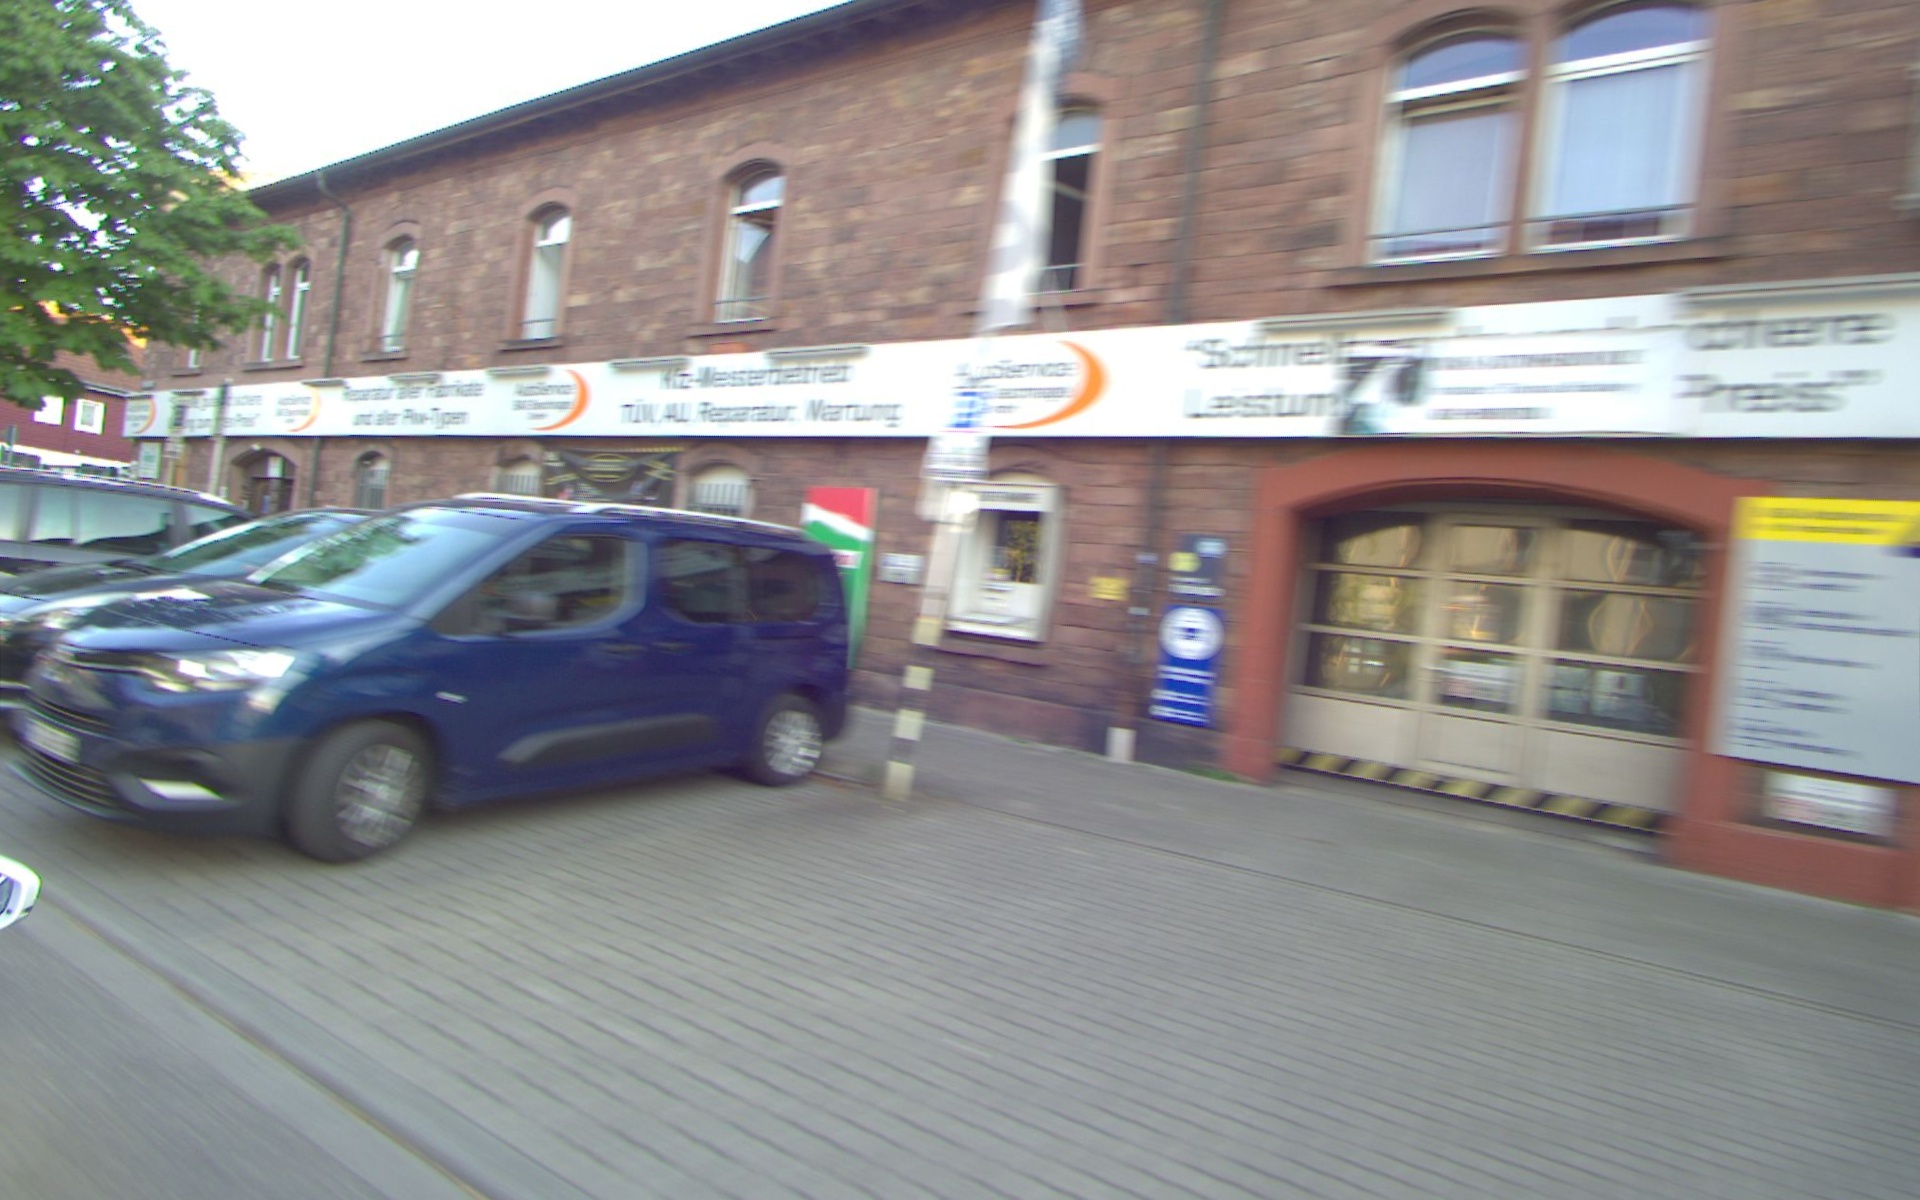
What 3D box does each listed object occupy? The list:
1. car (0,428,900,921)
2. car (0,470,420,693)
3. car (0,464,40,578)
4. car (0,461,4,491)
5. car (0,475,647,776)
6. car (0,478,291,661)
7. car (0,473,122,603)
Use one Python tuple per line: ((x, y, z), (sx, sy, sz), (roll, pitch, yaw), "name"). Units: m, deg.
((-2.614, 0.250, 6.225), (1.983, 1.777, 4.787), (8, 3, 31), "car")
((-7.260, -0.173, 8.832), (1.863, 1.640, 3.990), (6, 1, 30), "car")
((-17.464, -1.559, 15.564), (1.872, 1.820, 4.309), (6, -2, 31), "car")
((-15.810, -1.318, 13.365), (1.966, 1.926, 3.995), (6, -2, 30), "car")
((-4.850, 0.106, 7.737), (1.948, 1.596, 4.416), (7, 2, 30), "car")
((-9.288, -0.354, 9.962), (1.789, 1.583, 3.956), (6, -2, 28), "car")
((-13.211, -0.976, 12.393), (1.747, 1.527, 3.994), (6, -2, 31), "car")
